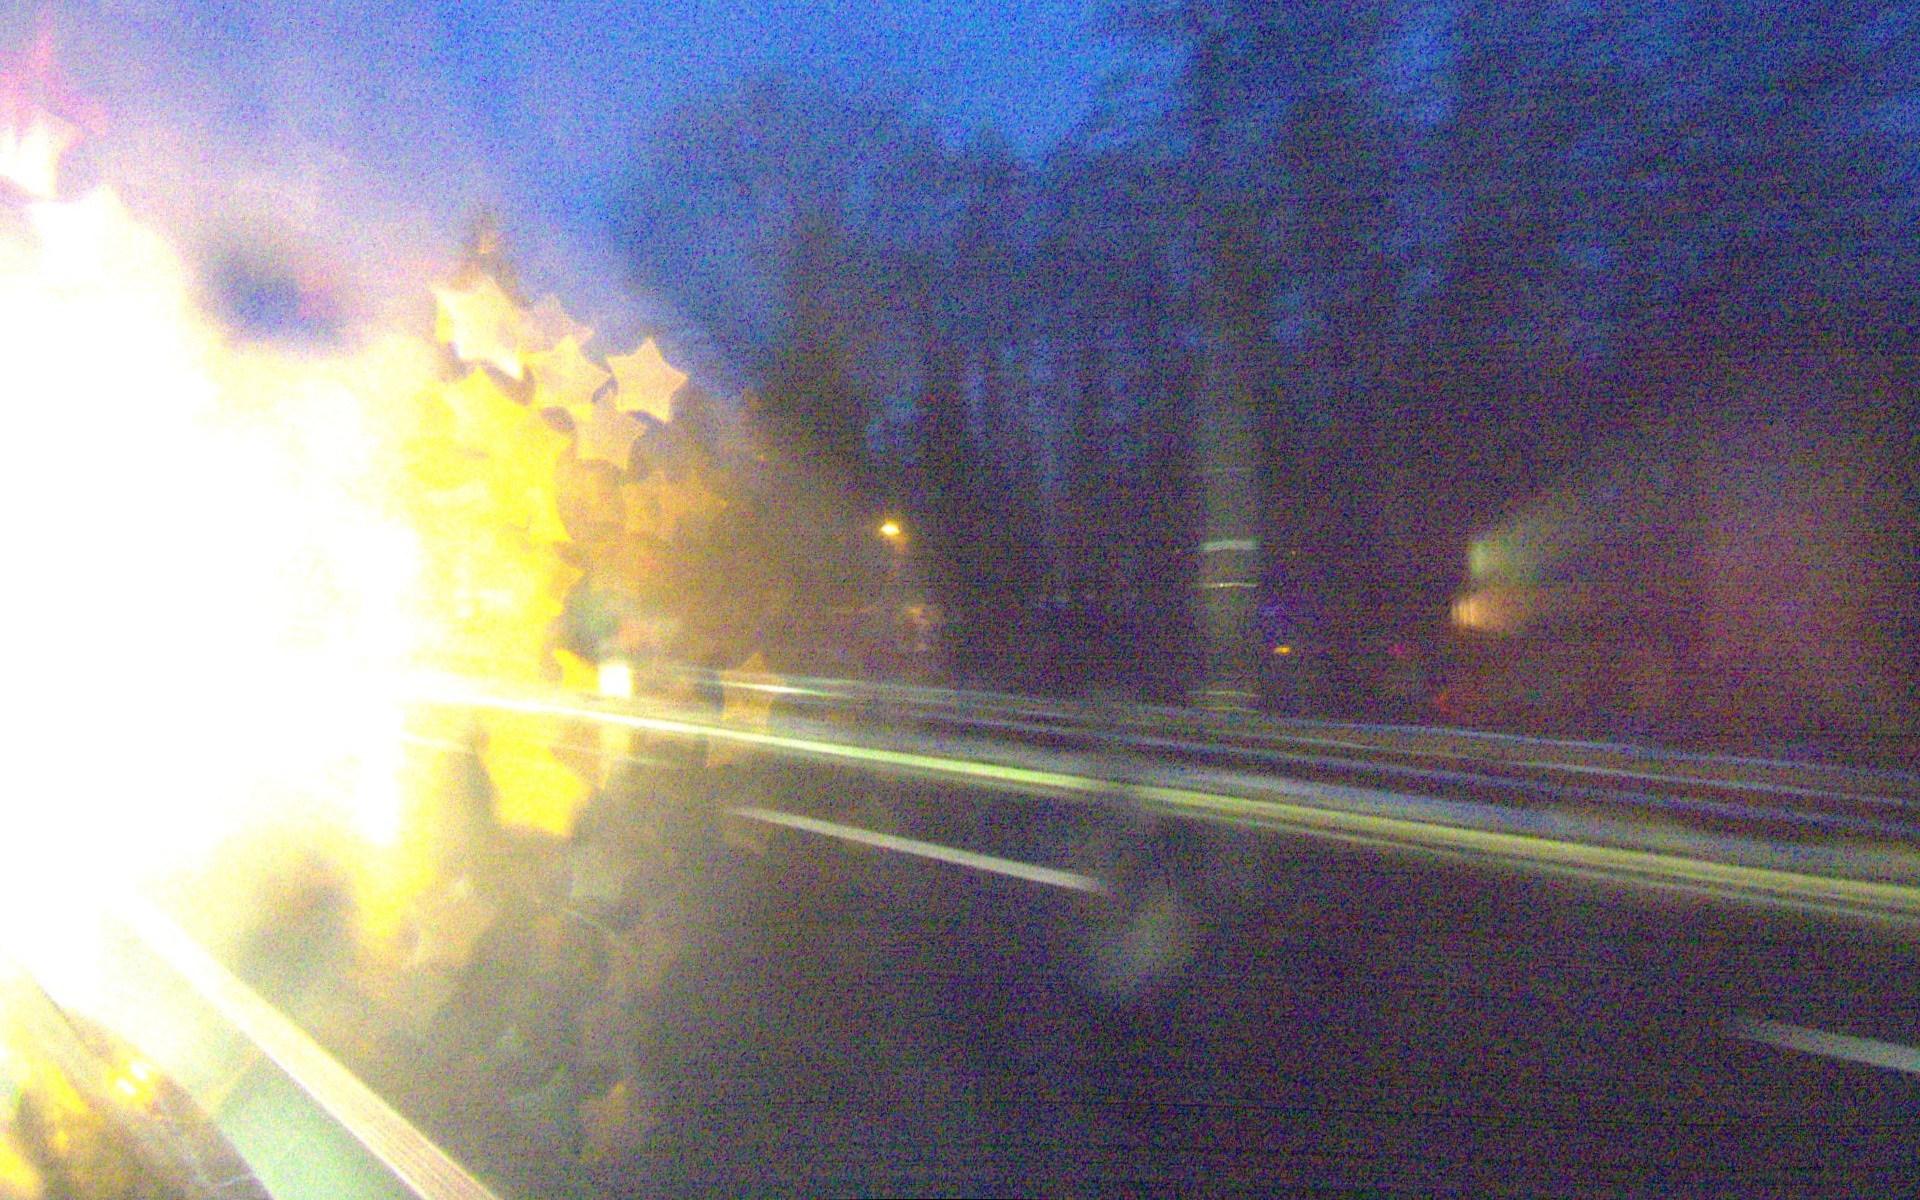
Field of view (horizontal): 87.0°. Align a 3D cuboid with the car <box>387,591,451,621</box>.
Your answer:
[{"bbox_3d":[-31.739,0.312,59.323,4.482,1.598,1.912,2,1,43],"label":"car"}]
